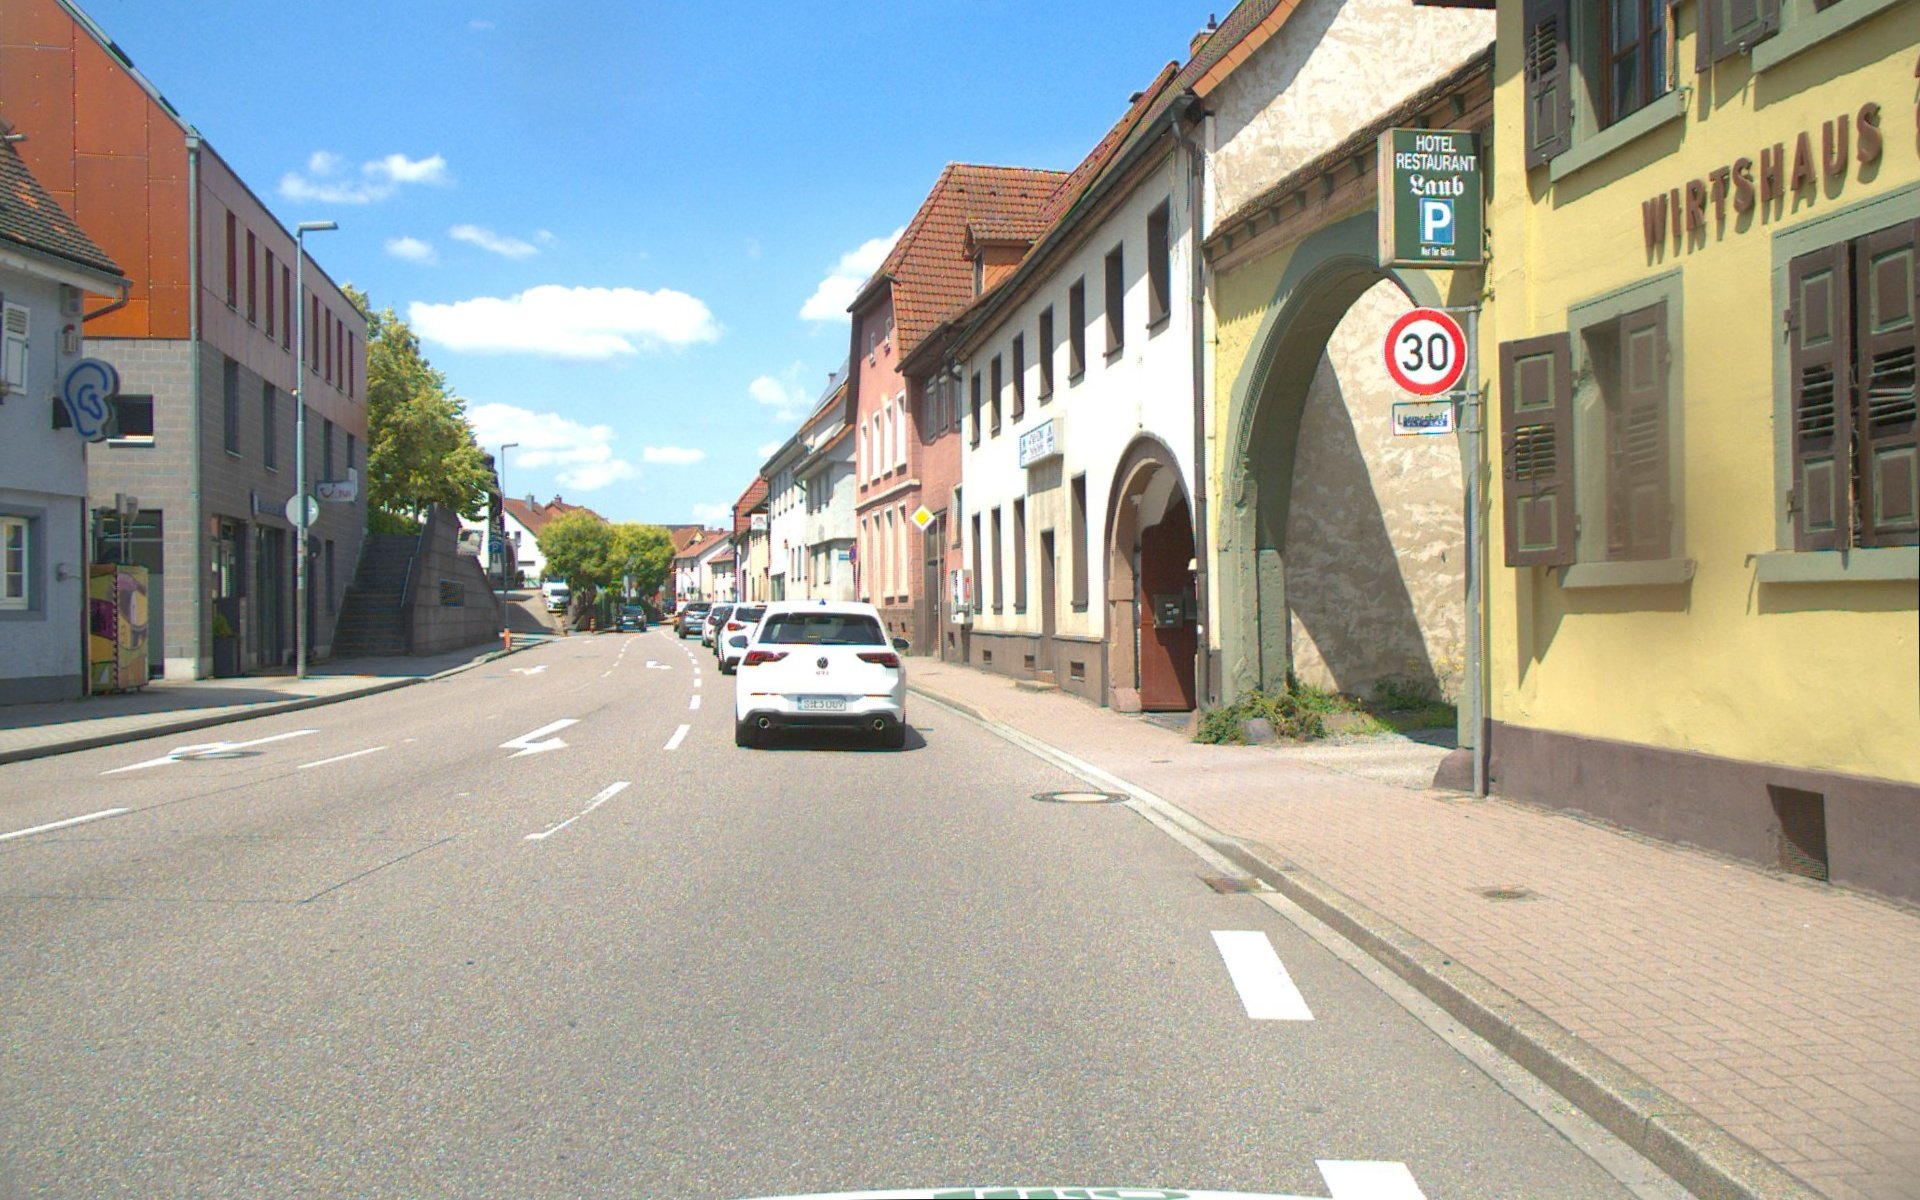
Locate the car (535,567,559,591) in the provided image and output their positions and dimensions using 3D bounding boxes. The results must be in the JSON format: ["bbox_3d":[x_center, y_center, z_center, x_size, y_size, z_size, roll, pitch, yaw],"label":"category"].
[{"bbox_3d":[-29.994,-1.530,120.097,1.549,1.385,3.846,0,5,-12],"label":"car"}]

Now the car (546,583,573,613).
[{"bbox_3d":[-26.412,-0.146,109.161,1.664,1.569,3.846,0,5,-12],"label":"car"}]

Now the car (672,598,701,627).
[{"bbox_3d":[-17.453,0.793,105.480,1.743,1.796,3.990,0,0,-10],"label":"car"}]

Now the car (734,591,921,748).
[{"bbox_3d":[-1.463,0.699,17.953,1.773,1.493,3.995,1,-1,-6],"label":"car"}]

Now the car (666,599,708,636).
[{"bbox_3d":[-11.846,0.753,71.908,1.743,1.565,3.991,0,0,-9],"label":"car"}]

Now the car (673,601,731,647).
[{"bbox_3d":[-8.951,0.831,57.237,1.776,1.493,3.988,1,-1,-12],"label":"car"}]

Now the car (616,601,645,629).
[{"bbox_3d":[-20.677,0.921,103.868,1.639,1.686,4.008,-1,0,-9],"label":"car"}]

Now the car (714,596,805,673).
[{"bbox_3d":[-4.255,0.713,34.924,1.774,1.493,3.993,1,-1,-8],"label":"car"}]
